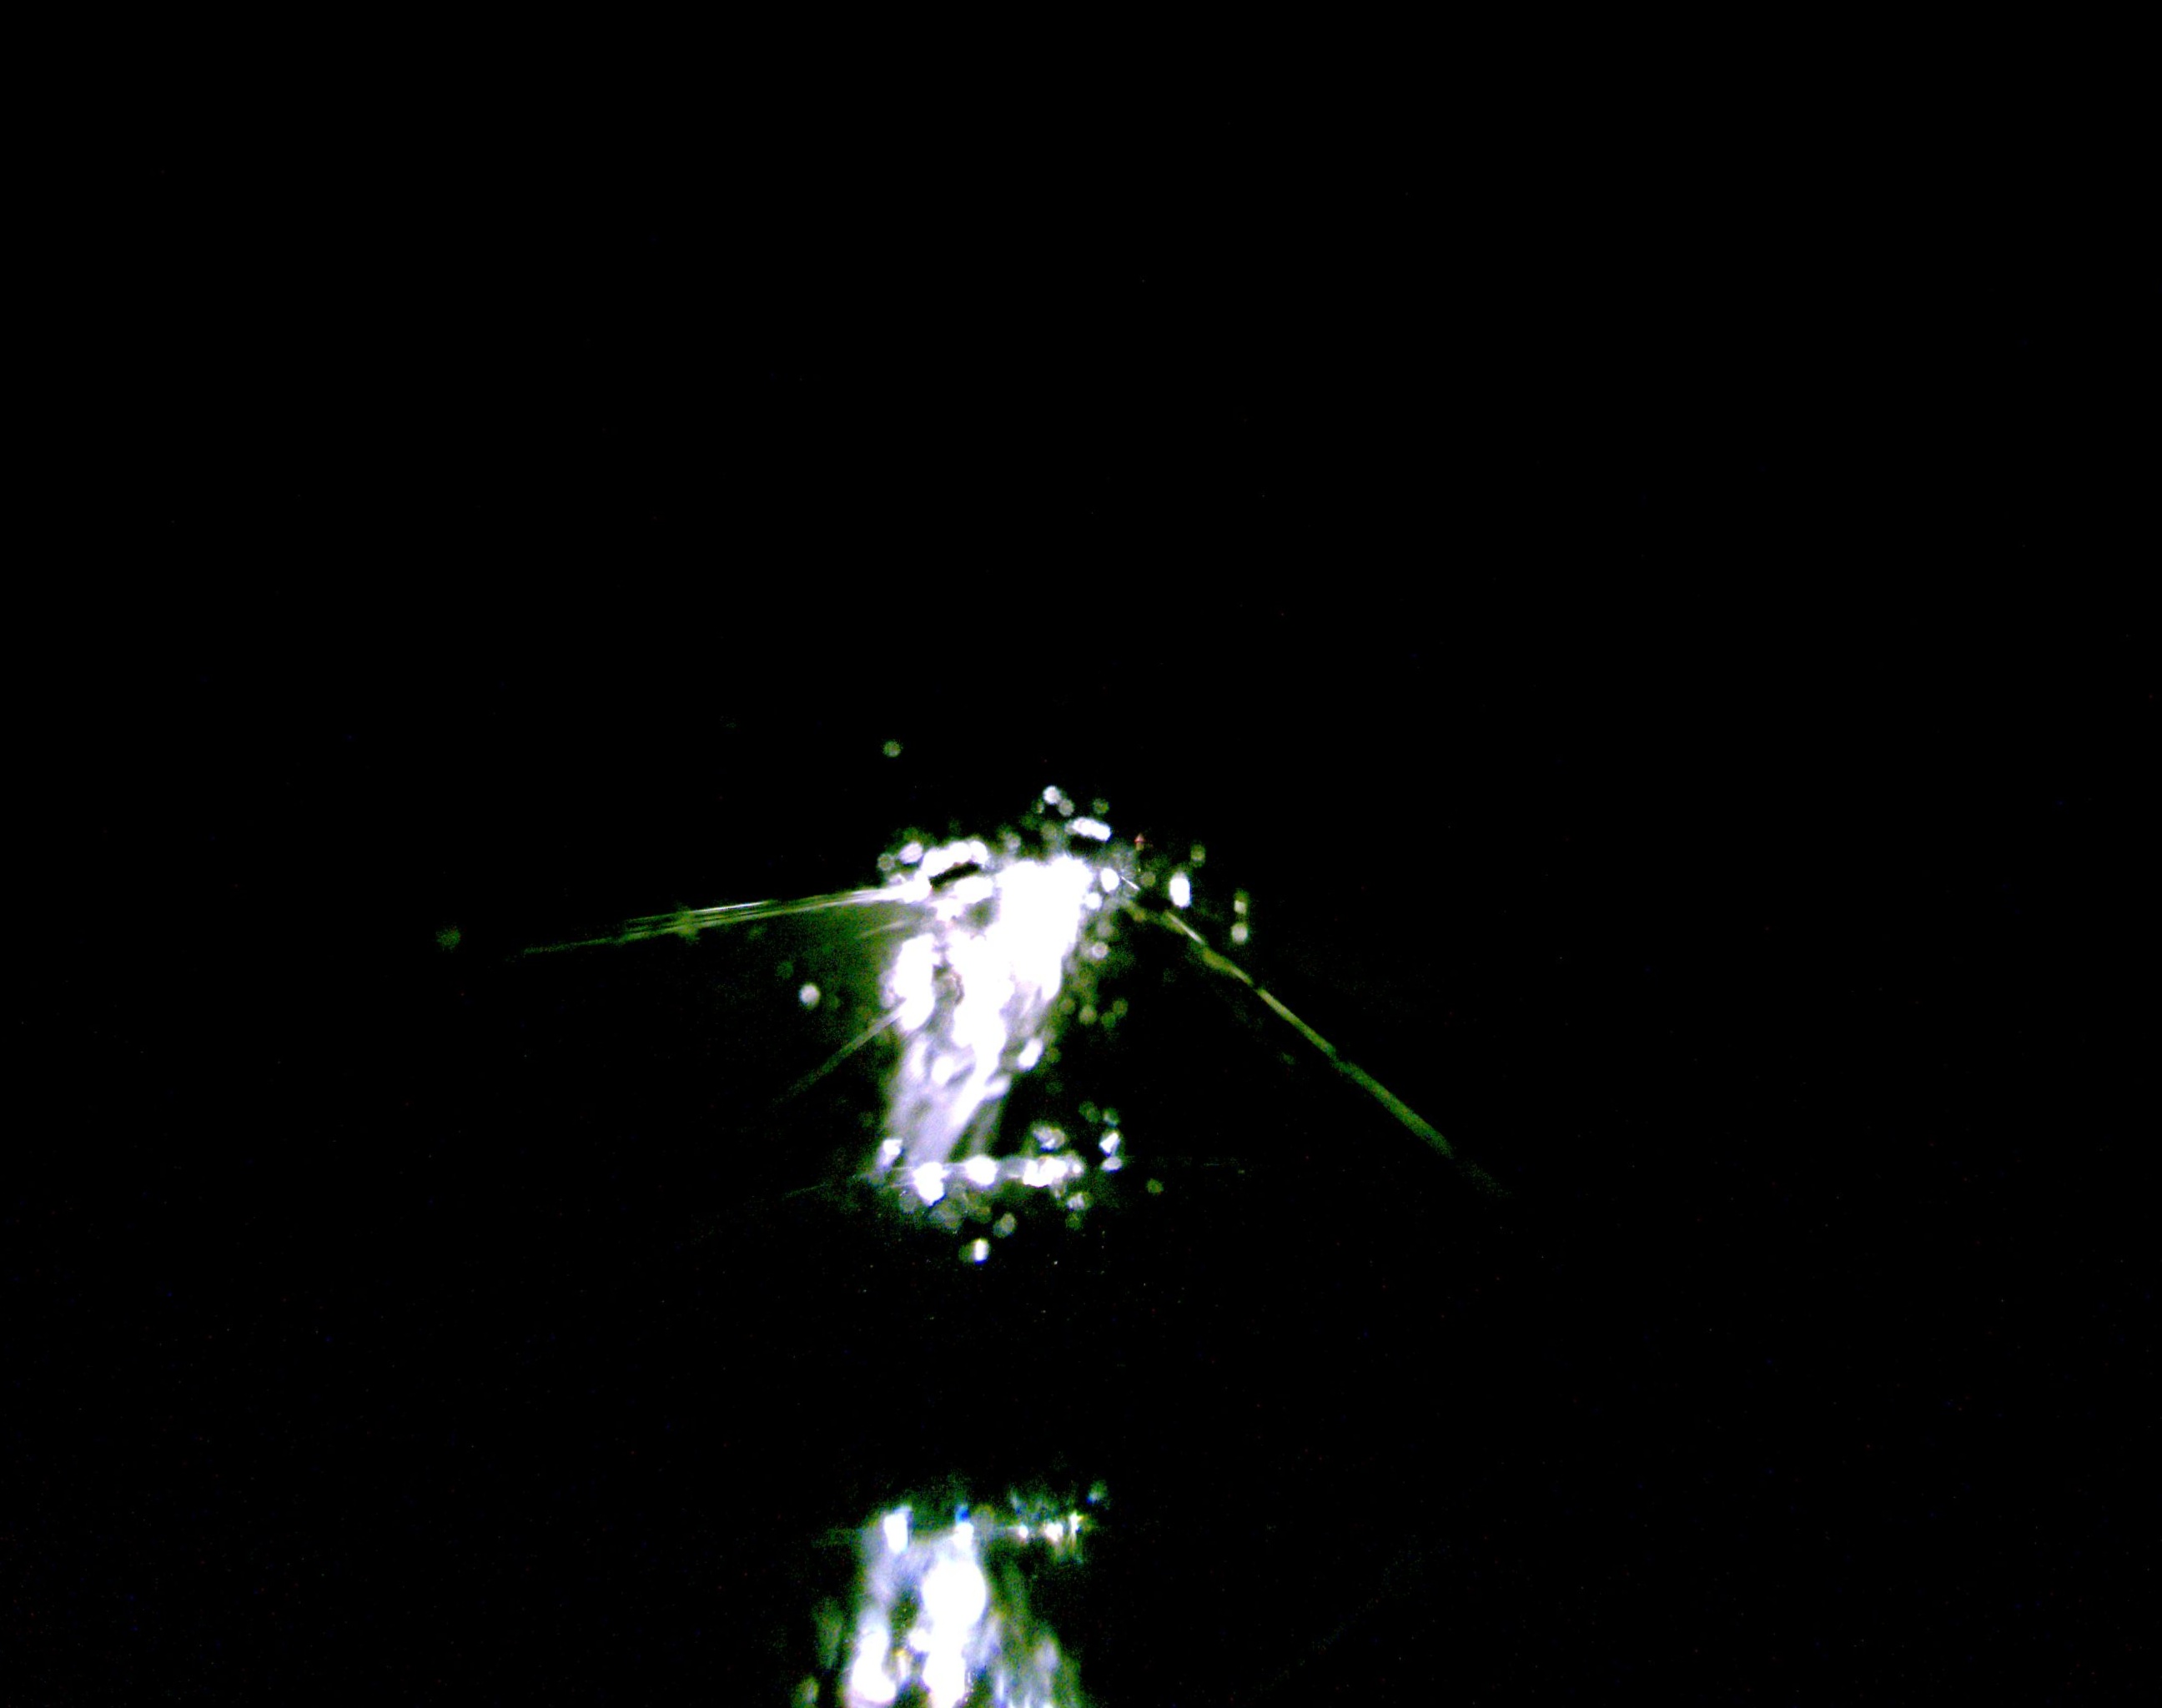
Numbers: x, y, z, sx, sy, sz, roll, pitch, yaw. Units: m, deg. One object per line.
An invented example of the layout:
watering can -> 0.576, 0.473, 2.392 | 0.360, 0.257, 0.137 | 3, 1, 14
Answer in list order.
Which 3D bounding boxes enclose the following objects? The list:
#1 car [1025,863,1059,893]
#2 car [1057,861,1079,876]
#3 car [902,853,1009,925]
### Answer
car -> -2.172, 1.310, 46.158 | 1.710, 1.554, 4.000 | -1, 0, 0
car -> -1.292, 1.497, 82.881 | 1.986, 1.497, 4.358 | -1, -2, 2
car -> -2.939, 0.776, 20.046 | 1.823, 1.554, 4.443 | -1, 0, 1
